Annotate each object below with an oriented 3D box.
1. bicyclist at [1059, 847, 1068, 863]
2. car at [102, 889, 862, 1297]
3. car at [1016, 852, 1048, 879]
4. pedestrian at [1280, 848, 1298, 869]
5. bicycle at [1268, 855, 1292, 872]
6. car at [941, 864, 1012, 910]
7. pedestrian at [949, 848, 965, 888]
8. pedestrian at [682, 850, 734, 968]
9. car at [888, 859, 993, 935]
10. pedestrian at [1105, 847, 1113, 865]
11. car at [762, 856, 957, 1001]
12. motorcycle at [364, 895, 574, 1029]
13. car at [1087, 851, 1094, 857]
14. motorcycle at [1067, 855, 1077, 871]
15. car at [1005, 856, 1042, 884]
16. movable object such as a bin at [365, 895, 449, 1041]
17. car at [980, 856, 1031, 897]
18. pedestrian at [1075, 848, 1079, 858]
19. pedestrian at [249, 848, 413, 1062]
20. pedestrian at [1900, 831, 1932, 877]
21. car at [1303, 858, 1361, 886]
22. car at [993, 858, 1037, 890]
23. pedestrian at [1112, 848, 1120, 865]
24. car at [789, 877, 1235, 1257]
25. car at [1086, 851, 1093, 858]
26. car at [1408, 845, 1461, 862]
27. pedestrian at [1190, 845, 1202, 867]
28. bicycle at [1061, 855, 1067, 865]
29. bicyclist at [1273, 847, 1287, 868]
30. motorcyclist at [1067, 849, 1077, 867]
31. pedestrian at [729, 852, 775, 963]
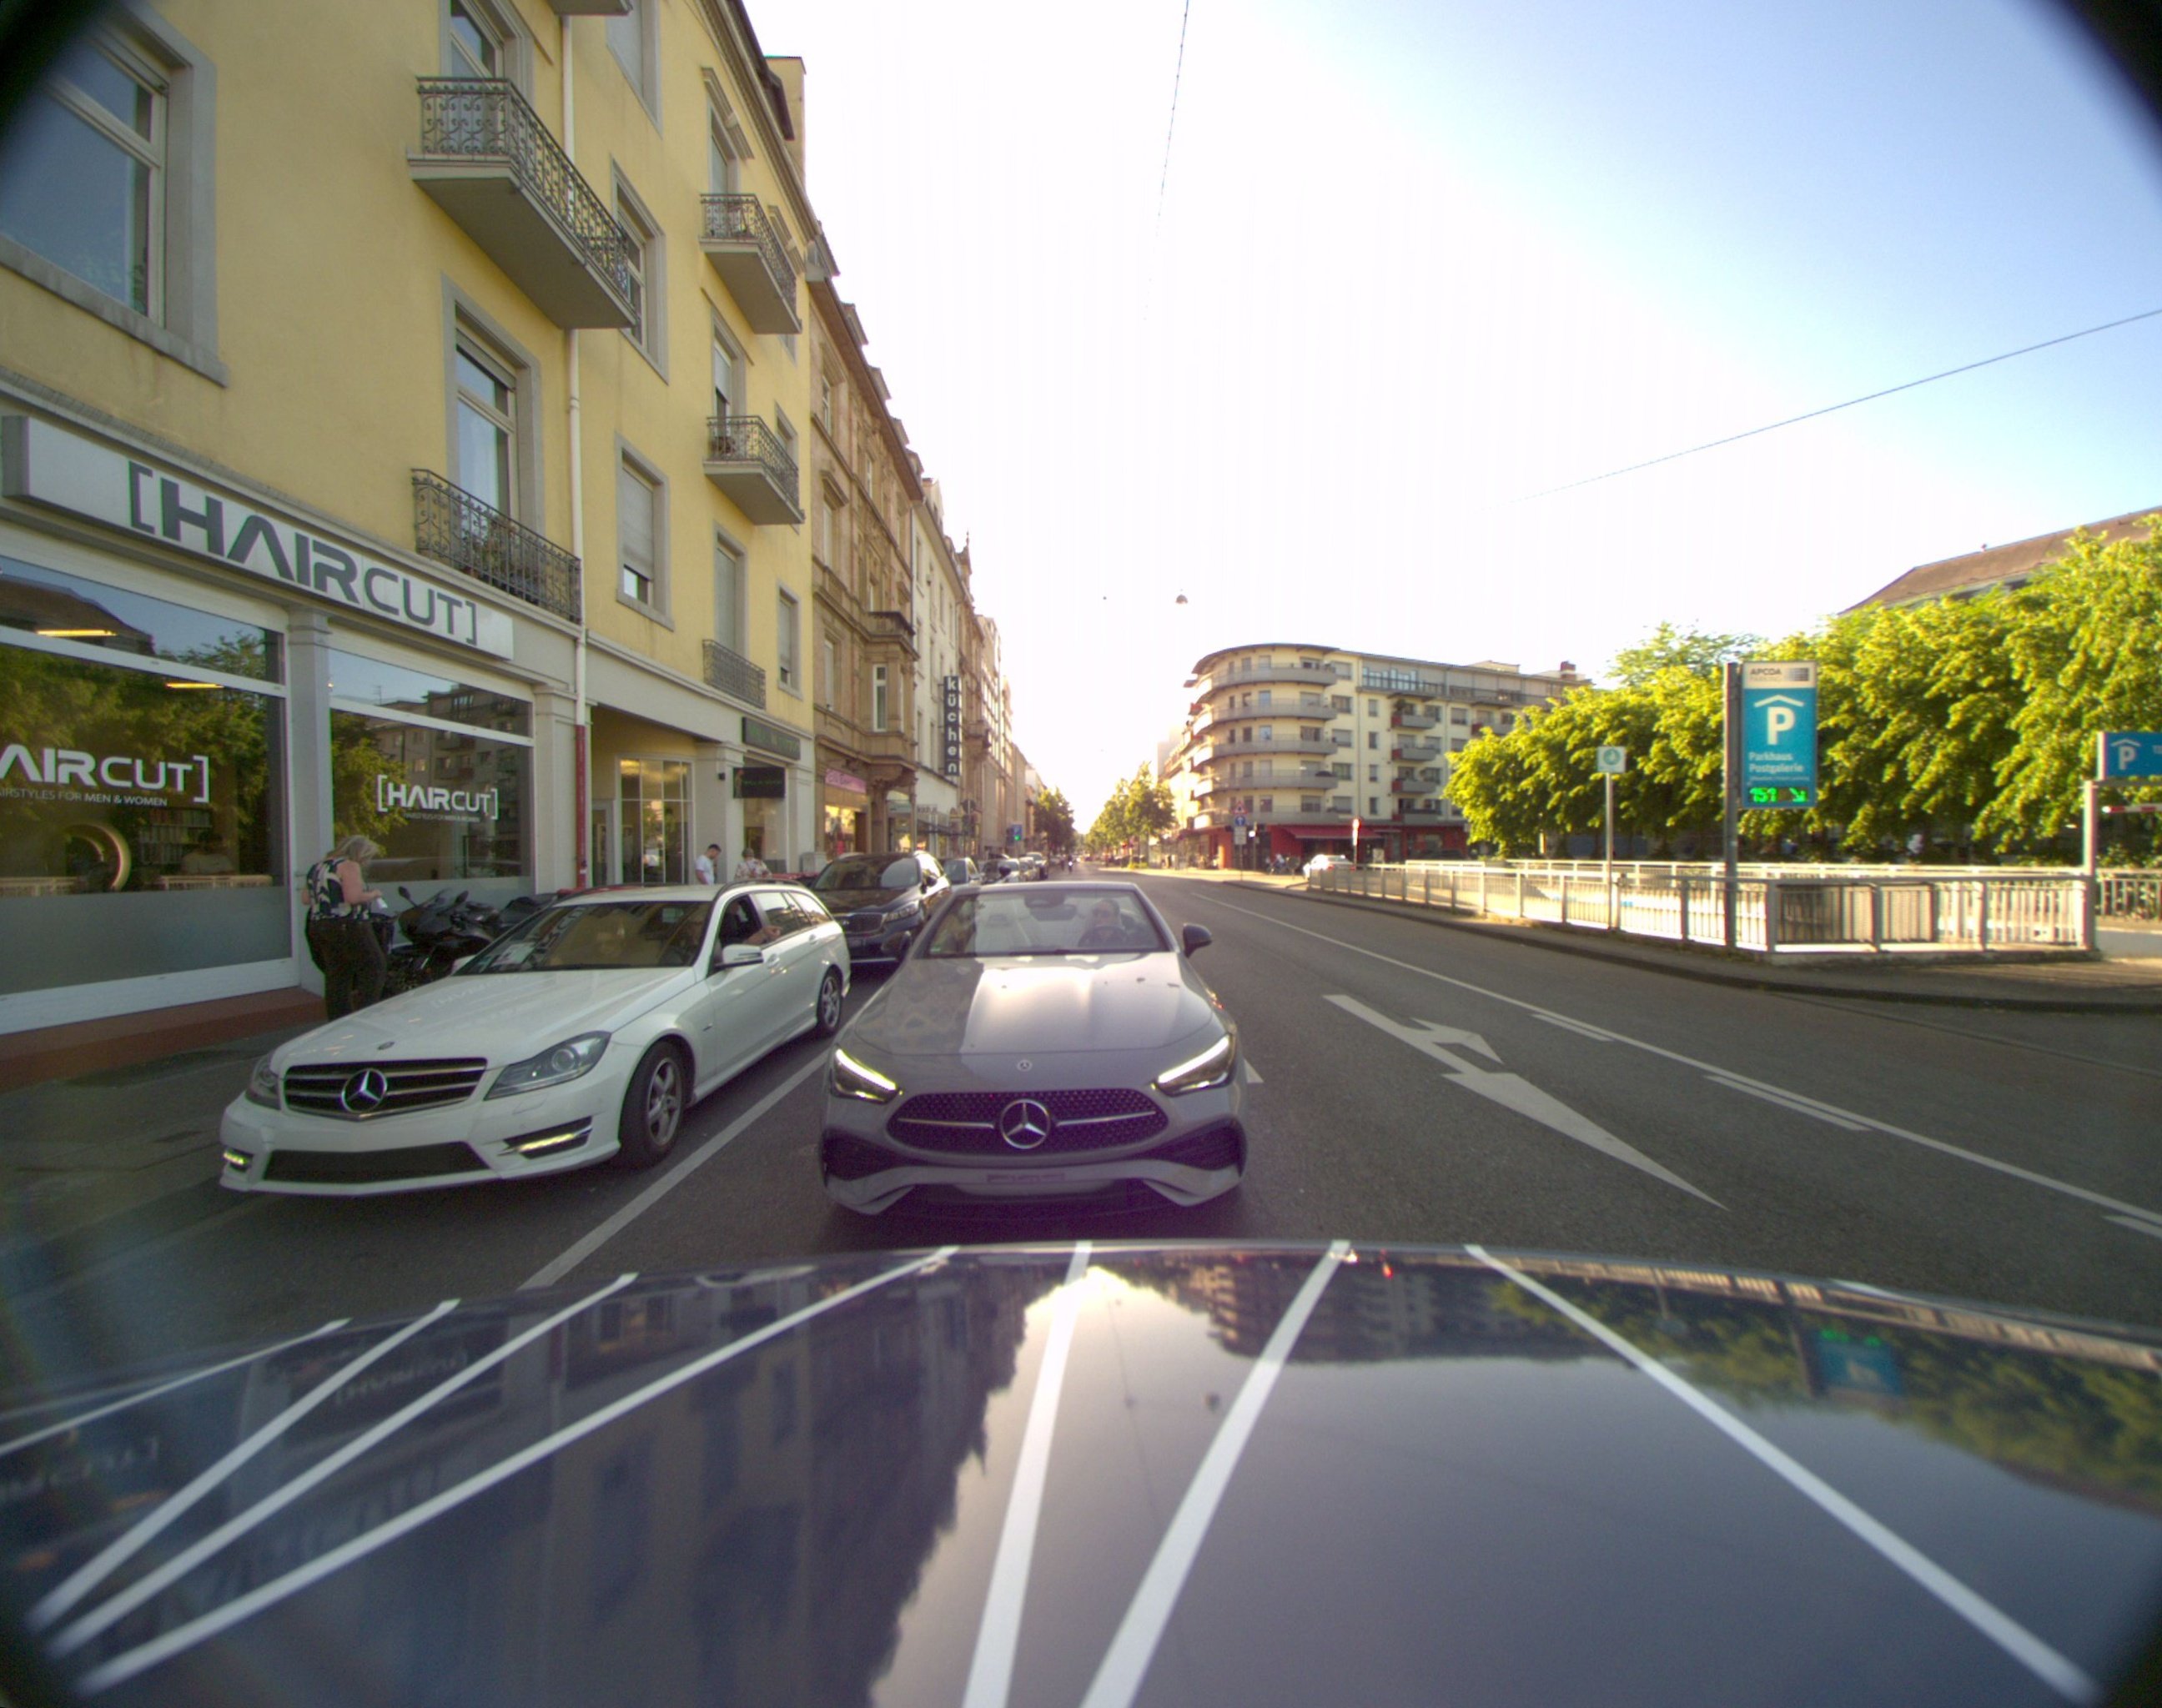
[{"bbox_3d":[-1.845,0.117,81.321,0.885,1.625,0.768,-2,1,-2],"label":"bicyclist"},{"bbox_3d":[-3.053,1.078,5.268,1.704,1.351,4.378,-2,1,1],"label":"car"},{"bbox_3d":[-3.055,0.692,47.725,1.725,1.506,4.004,-2,1,-1],"label":"car"},{"bbox_3d":[15.730,0.340,57.424,0.863,1.586,0.887,-3,1,-38],"label":"pedestrian"},{"bbox_3d":[14.596,0.721,55.733,1.594,1.163,0.527,-2,1,-16],"label":"bicycle"},{"bbox_3d":[-3.419,1.031,25.483,1.802,1.259,4.085,-2,1,-1],"label":"car"},{"bbox_3d":[-5.904,0.657,36.260,0.574,1.840,0.665,-2,1,1],"label":"pedestrian"},{"bbox_3d":[-6.395,0.913,13.047,0.373,1.971,0.695,0,1,23],"label":"pedestrian"},{"bbox_3d":[-3.295,0.940,18.594,1.802,1.518,4.085,-2,1,-1],"label":"car"},{"bbox_3d":[3.181,0.238,86.503,0.860,2.002,0.889,-2,1,1],"label":"pedestrian"},{"bbox_3d":[-3.026,0.908,11.331,1.803,1.629,4.243,-2,1,-3],"label":"car"},{"bbox_3d":[-6.187,1.032,7.845,0.567,1.072,1.954,2,1,1],"label":"motorcycle"},{"bbox_3d":[2.203,-0.029,179.530,1.615,1.534,3.931,-1,0,1],"label":"car"},{"bbox_3d":[-0.718,0.733,62.815,0.720,1.177,1.906,-2,1,2],"label":"motorcycle"},{"bbox_3d":[-3.073,0.841,41.234,1.725,1.332,3.668,-2,1,-1],"label":"car"},{"bbox_3d":[-5.954,0.988,6.726,0.391,1.231,0.394,1,1,1],"label":"movable object such as a bin"},{"bbox_3d":[-2.997,0.846,30.760,1.660,1.423,4.085,-2,1,-1],"label":"car"},{"bbox_3d":[-0.754,-0.247,156.763,0.792,2.002,0.889,-2,1,0],"label":"pedestrian"},{"bbox_3d":[-6.065,0.780,6.177,0.719,1.644,0.606,1,1,1],"label":"pedestrian"},{"bbox_3d":[31.839,-0.013,28.962,0.647,1.711,0.607,-3,1,-19],"label":"pedestrian"},{"bbox_3d":[13.844,0.943,42.109,1.823,1.346,4.264,1,1,1],"label":"car"},{"bbox_3d":[-3.135,0.939,36.872,1.802,1.332,3.838,-2,1,-1],"label":"car"},{"bbox_3d":[4.308,0.266,93.260,0.792,2.002,0.889,-2,1,1],"label":"pedestrian"},{"bbox_3d":[-0.266,0.952,5.158,1.802,1.351,3.999,-2,1,1],"label":"car"},{"bbox_3d":[2.071,0.042,179.348,1.615,1.534,3.931,-1,0,1],"label":"car"},{"bbox_3d":[29.046,-0.052,62.427,4.004,1.294,1.753,-2,1,-23],"label":"car"},{"bbox_3d":[10.300,0.177,68.077,0.860,2.002,0.889,-2,1,0],"label":"pedestrian"},{"bbox_3d":[-1.803,0.645,81.329,0.641,1.078,2.061,-2,0,-1],"label":"bicycle"},{"bbox_3d":[14.610,0.246,55.727,0.799,1.539,0.524,-2,1,-16],"label":"bicyclist"},{"bbox_3d":[-0.732,0.305,62.765,0.722,1.438,0.705,-2,1,1],"label":"motorcyclist"},{"bbox_3d":[-5.736,0.906,13.245,0.576,1.840,0.663,-3,1,-30],"label":"pedestrian"}]
